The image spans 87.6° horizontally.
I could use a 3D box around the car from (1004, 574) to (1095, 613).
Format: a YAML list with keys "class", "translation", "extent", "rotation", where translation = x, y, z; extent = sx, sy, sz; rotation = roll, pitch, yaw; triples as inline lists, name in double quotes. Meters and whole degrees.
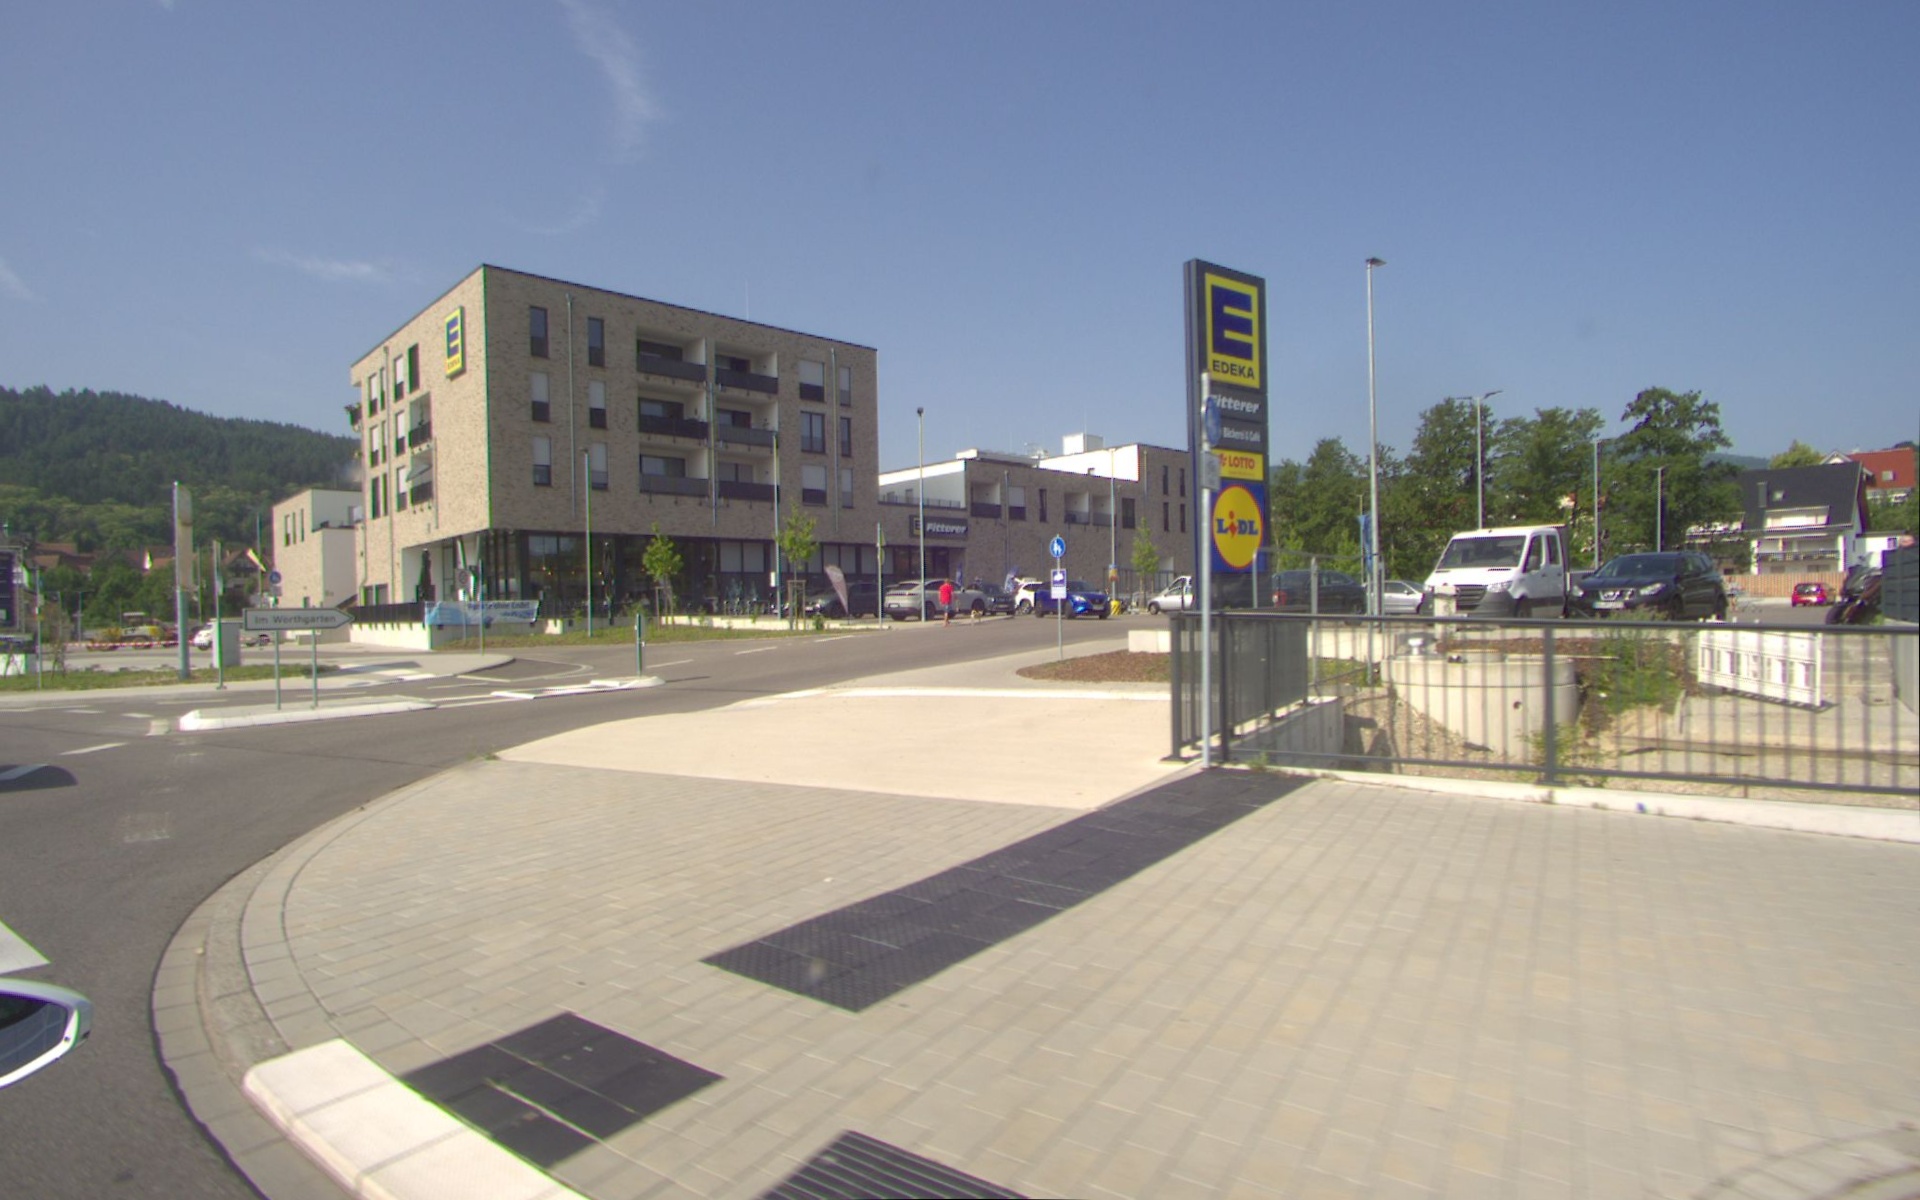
- class: "car"
  translation: [4.590, -0.305, 51.965]
  extent: [1.980, 1.905, 4.535]
  rotation: [0, -1, -43]

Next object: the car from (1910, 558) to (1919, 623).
- class: "car"
  translation: [26.613, -0.250, 25.163]
  extent: [1.982, 1.638, 3.960]
  rotation: [2, -2, -45]

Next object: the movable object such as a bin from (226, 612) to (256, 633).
- class: "movable object such as a bin"
  translation: [-52.774, 1.635, 73.492]
  extent: [1.305, 1.483, 1.572]
  rotation: [0, -2, 42]

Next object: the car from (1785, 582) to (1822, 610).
- class: "car"
  translation: [52.686, -0.234, 62.548]
  extent: [1.693, 1.594, 3.757]
  rotation: [0, -2, 41]

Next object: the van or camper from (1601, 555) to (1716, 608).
- class: "van or camper"
  translation: [41.530, -1.010, 59.631]
  extent: [2.272, 2.884, 5.238]
  rotation: [2, -2, -42]

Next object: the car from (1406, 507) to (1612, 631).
- class: "car"
  translation: [12.675, -0.543, 22.915]
  extent: [6.024, 2.414, 2.044]
  rotation: [2, -2, -39]

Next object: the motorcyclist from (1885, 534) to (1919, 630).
- class: "motorcyclist"
  translation: [15.999, -0.292, 16.763]
  extent: [0.571, 1.562, 0.515]
  rotation: [1, -1, 10]

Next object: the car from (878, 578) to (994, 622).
- class: "car"
  translation: [-0.939, -0.037, 41.402]
  extent: [4.770, 1.577, 1.840]
  rotation: [-3, 4, -43]

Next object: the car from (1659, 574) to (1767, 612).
- class: "car"
  translation: [34.620, -0.272, 46.092]
  extent: [1.745, 1.594, 3.753]
  rotation: [2, -2, -41]

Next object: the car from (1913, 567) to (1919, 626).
- class: "car"
  translation: [28.170, -0.120, 26.805]
  extent: [1.649, 1.594, 3.753]
  rotation: [2, -2, -41]

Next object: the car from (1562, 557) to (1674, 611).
- class: "car"
  translation: [34.551, -0.773, 52.655]
  extent: [1.980, 2.650, 4.605]
  rotation: [2, -2, -42]

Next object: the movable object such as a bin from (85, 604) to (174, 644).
- class: "movable object such as a bin"
  translation: [-59.291, 1.717, 71.597]
  extent: [4.563, 2.604, 1.914]
  rotation: [-3, 1, -33]

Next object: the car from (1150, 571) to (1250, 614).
- class: "car"
  translation: [12.351, -0.343, 51.652]
  extent: [4.588, 2.039, 1.987]
  rotation: [0, -2, 38]

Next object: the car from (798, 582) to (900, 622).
- class: "car"
  translation: [-4.989, 0.042, 45.474]
  extent: [1.838, 1.577, 4.416]
  rotation: [2, 4, 44]

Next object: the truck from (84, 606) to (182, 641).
- class: "truck"
  translation: [-61.285, 1.744, 74.350]
  extent: [5.258, 2.296, 2.206]
  rotation: [-3, 1, -33]

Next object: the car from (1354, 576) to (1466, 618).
- class: "car"
  translation: [17.093, -0.068, 38.111]
  extent: [1.509, 1.464, 3.601]
  rotation: [2, -2, -40]

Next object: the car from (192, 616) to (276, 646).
- class: "car"
  translation: [-40.423, 1.714, 55.814]
  extent: [1.572, 1.514, 3.398]
  rotation: [-3, 0, 31]

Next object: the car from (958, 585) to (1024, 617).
- class: "car"
  translation: [1.471, 0.057, 49.097]
  extent: [1.616, 1.411, 4.216]
  rotation: [-3, 1, -23]

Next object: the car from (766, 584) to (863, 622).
- class: "car"
  translation: [-6.921, 0.085, 48.009]
  extent: [1.838, 1.577, 4.416]
  rotation: [2, 4, 44]

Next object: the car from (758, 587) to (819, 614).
- class: "car"
  translation: [-9.192, 0.059, 53.682]
  extent: [3.294, 1.368, 1.479]
  rotation: [-1, -2, 41]

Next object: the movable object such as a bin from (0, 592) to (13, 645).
- class: "movable object such as a bin"
  translation: [-67.728, 1.201, 68.162]
  extent: [2.813, 3.668, 5.718]
  rotation: [1, -2, -23]

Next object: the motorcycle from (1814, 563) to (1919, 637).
- class: "motorcycle"
  translation: [15.421, 0.012, 16.894]
  extent: [1.869, 1.207, 0.590]
  rotation: [1, 0, -16]

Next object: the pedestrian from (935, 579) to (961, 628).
- class: "pedestrian"
  translation: [-0.432, 0.122, 36.678]
  extent: [0.863, 1.763, 0.758]
  rotation: [1, -1, 3]

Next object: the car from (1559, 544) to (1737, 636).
- class: "car"
  translation: [14.026, -0.111, 20.331]
  extent: [4.427, 1.622, 1.818]
  rotation: [2, -2, -39]

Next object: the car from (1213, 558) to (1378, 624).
- class: "car"
  translation: [9.174, -0.170, 27.217]
  extent: [4.803, 1.550, 1.908]
  rotation: [2, -2, -37]

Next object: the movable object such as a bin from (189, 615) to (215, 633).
- class: "movable object such as a bin"
  translation: [-56.128, 1.785, 74.181]
  extent: [1.305, 1.284, 1.290]
  rotation: [0, -2, 42]

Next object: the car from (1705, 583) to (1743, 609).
- class: "car"
  translation: [50.279, -0.241, 65.896]
  extent: [1.743, 1.594, 3.757]
  rotation: [0, -2, 41]

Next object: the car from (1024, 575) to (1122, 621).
- class: "car"
  translation: [4.563, -0.093, 41.013]
  extent: [1.858, 1.686, 4.333]
  rotation: [-5, 3, -27]

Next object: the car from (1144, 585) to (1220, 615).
- class: "car"
  translation: [10.942, 0.027, 49.479]
  extent: [3.293, 1.368, 1.616]
  rotation: [-2, -2, 40]

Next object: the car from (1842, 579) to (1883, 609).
- class: "car"
  translation: [53.617, -0.333, 59.513]
  extent: [1.743, 1.594, 3.757]
  rotation: [0, -2, 41]
